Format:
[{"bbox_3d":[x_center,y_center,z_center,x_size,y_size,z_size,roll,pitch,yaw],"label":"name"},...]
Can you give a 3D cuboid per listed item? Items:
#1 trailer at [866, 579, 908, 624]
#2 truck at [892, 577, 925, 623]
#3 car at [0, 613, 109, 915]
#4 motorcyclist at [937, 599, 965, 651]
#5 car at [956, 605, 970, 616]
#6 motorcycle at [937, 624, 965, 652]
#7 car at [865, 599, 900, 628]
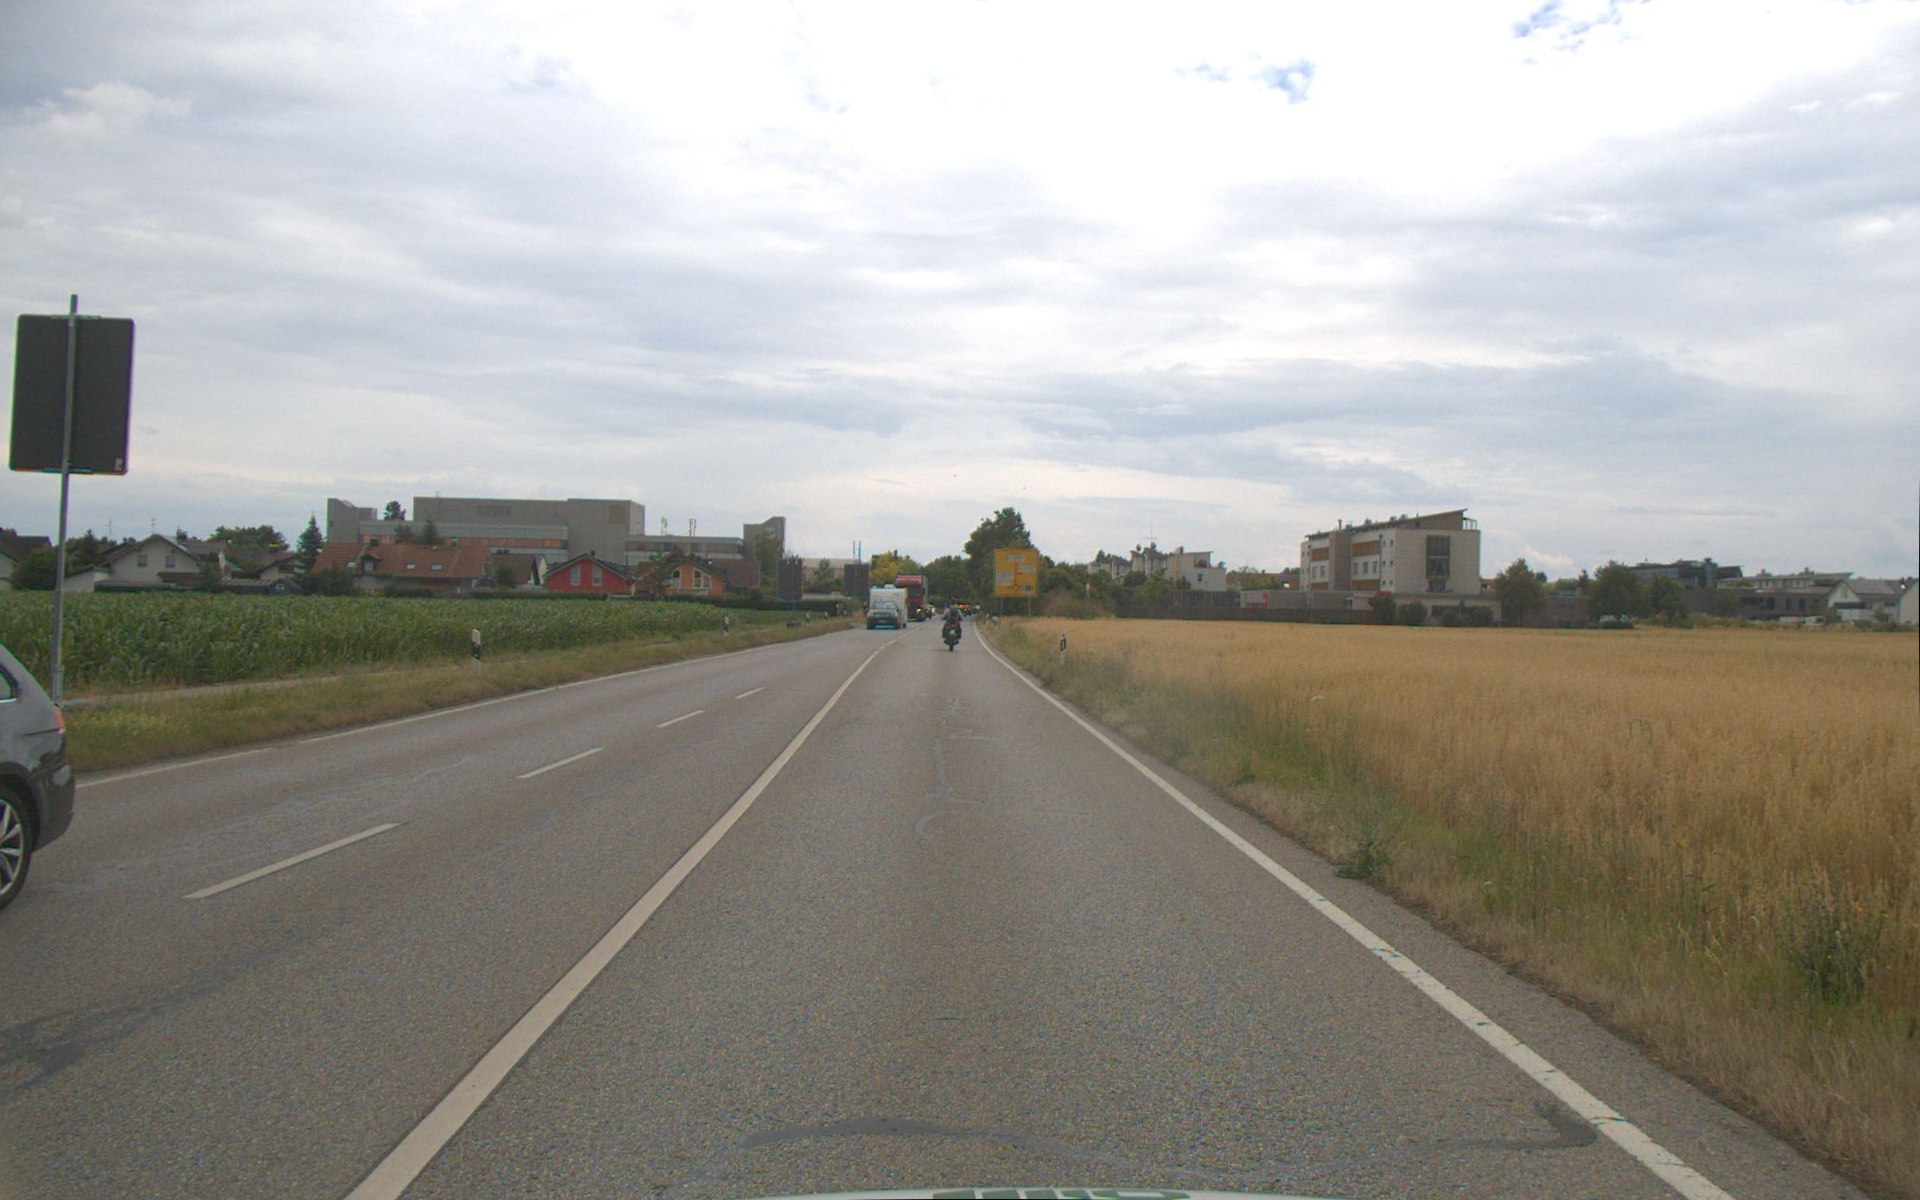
[{"bbox_3d":[-4.675,0.127,107.155,2.276,2.777,7.843,1,0,1],"label":"trailer"},{"bbox_3d":[-4.566,0.029,147.541,2.673,4.057,6.816,0,0,0],"label":"truck"},{"bbox_3d":[-5.456,0.799,6.862,1.635,1.454,4.302,-1,0,0],"label":"car"},{"bbox_3d":[-0.302,0.851,57.192,0.922,1.780,1.200,1,-1,0],"label":"motorcyclist"},{"bbox_3d":[0.356,1.384,218.032,1.817,1.498,4.000,1,0,0],"label":"car"},{"bbox_3d":[-0.313,1.298,57.194,0.922,0.905,2.145,1,0,0],"label":"motorcycle"},{"bbox_3d":[-4.702,0.809,101.020,1.953,1.729,4.675,1,0,0],"label":"car"}]
